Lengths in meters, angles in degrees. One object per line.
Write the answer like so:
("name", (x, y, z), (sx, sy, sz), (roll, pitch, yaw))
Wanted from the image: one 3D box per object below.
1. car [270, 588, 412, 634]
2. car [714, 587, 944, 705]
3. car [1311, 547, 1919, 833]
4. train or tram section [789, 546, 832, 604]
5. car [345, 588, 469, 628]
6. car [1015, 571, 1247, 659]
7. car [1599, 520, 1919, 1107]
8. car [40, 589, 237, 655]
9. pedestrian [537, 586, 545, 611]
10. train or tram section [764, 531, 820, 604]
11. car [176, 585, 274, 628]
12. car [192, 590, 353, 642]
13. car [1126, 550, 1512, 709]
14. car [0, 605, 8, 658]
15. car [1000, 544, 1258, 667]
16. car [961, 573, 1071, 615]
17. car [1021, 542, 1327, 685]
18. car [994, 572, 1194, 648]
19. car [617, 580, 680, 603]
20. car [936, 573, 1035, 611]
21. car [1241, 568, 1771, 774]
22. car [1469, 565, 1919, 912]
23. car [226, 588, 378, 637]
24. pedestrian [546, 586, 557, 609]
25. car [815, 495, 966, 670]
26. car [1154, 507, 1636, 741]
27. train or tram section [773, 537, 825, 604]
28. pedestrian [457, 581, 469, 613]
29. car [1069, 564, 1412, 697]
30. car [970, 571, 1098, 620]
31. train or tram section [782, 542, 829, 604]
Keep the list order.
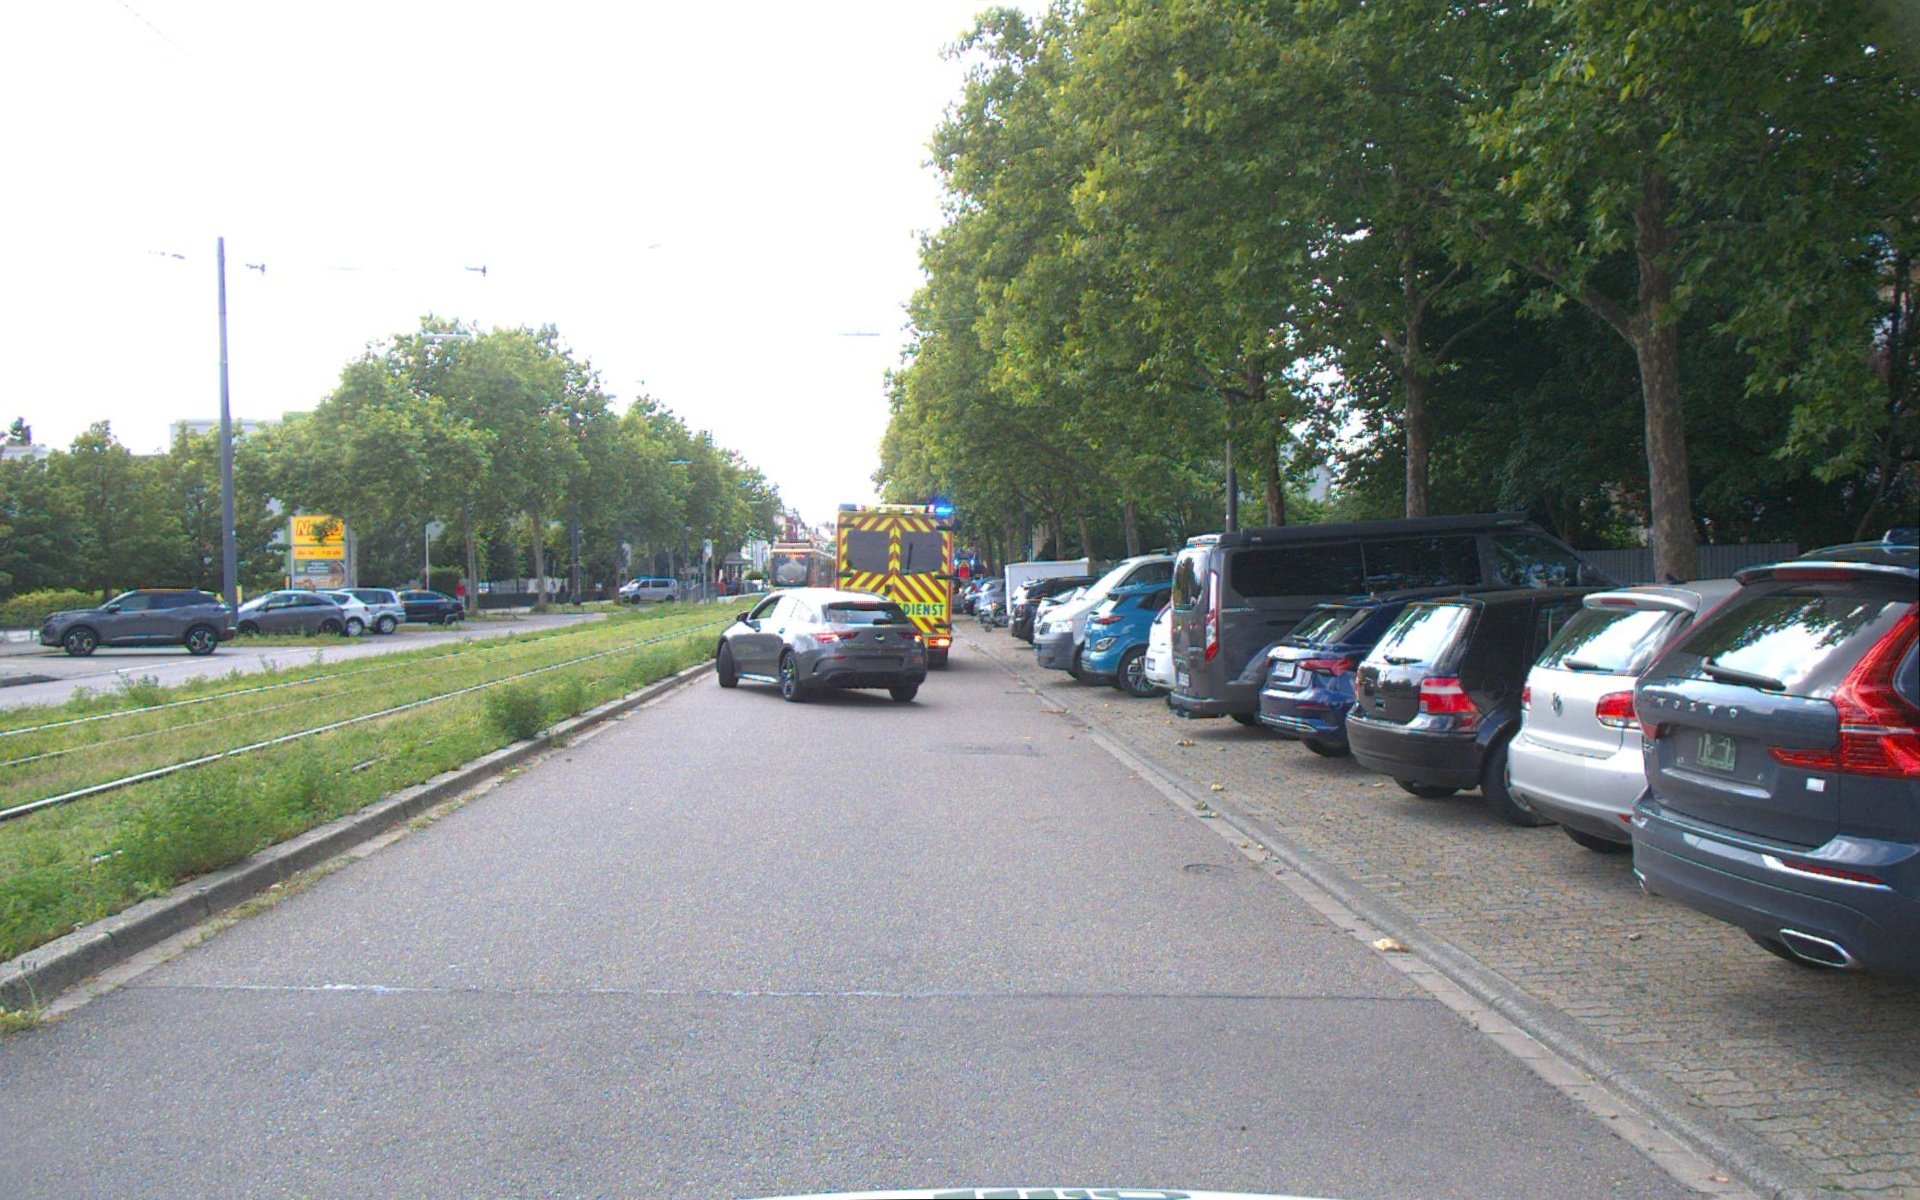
("car", (-20.949, 0.350, 56.025), (4.192, 1.508, 1.857), (0, 0, -39))
("car", (-1.920, 0.563, 22.807), (1.738, 1.409, 4.433), (1, 0, -25))
("car", (4.567, 0.515, 11.201), (3.897, 1.633, 1.750), (-2, 0, -13))
("train or tram section", (-9.968, -1.605, 110.991), (2.462, 3.646, 7.441), (-2, 0, -3))
("car", (-21.439, 0.307, 64.213), (4.199, 1.508, 1.854), (0, 0, -42))
("car", (3.498, 0.289, 34.186), (4.458, 1.636, 1.853), (-2, 0, -7))
("car", (4.674, 0.541, 5.633), (4.292, 1.668, 1.756), (-2, 0, -1))
("car", (-19.801, 0.508, 40.001), (4.172, 1.508, 1.867), (0, 0, -28))
("pedestrian", (-25.922, -0.105, 102.268), (0.413, 1.499, 0.467), (-1, 0, -7))
("train or tram section", (-8.950, -1.682, 88.704), (2.462, 3.646, 7.441), (-2, 0, -3))
("car", (-32.488, 0.265, 73.093), (3.912, 1.780, 1.997), (2, 1, 29))
("car", (-20.800, 0.451, 50.100), (4.192, 1.508, 1.857), (0, 0, -39))
("car", (4.481, 0.347, 21.087), (4.455, 1.797, 1.855), (-2, 0, -3))
("car", (-31.165, 0.930, 49.832), (3.905, 1.592, 1.777), (1, 0, 0))
("car", (3.084, 0.078, 30.693), (4.458, 2.079, 1.853), (-2, 0, -7))
("car", (2.363, -0.255, 70.723), (4.458, 1.636, 1.853), (-2, 0, -7))
("car", (3.318, 0.187, 26.107), (4.458, 2.035, 1.853), (-2, 0, -7))
("car", (3.143, 0.214, 39.331), (4.458, 1.636, 1.853), (-2, 0, -7))
("car", (-24.227, -0.680, 128.658), (4.588, 1.661, 1.855), (-1, 1, -42))
("car", (1.198, -0.377, 78.910), (4.458, 1.636, 1.853), (-2, 0, -7))
("car", (4.517, 0.558, 14.055), (3.887, 1.520, 1.755), (-2, 0, -3))
("car", (4.843, 0.589, 8.487), (3.887, 1.520, 1.755), (-2, 0, -3))
("car", (-21.046, 0.373, 52.962), (4.192, 1.508, 1.857), (0, 0, -39))
("pedestrian", (-25.730, -0.137, 104.154), (0.412, 1.439, 0.467), (-1, 0, 22))
("car", (-1.275, -0.332, 32.527), (2.588, 3.018, 6.298), (2, 0, -1))
("car", (4.401, 0.216, 17.176), (4.455, 2.160, 1.855), (-2, 0, -3))
("train or tram section", (-9.297, -1.657, 96.125), (2.462, 3.646, 7.441), (-2, 0, -3))
("pedestrian", (-26.902, -0.178, 89.494), (0.457, 1.706, 0.603), (-1, 0, -4))
("car", (3.939, 0.401, 23.598), (4.459, 1.689, 1.853), (-2, 0, -7))
("car", (2.702, -0.161, 60.881), (4.458, 1.636, 1.853), (-2, 0, -7))
("train or tram section", (-9.636, -1.631, 103.559), (2.462, 3.646, 7.441), (-2, 0, -3))
